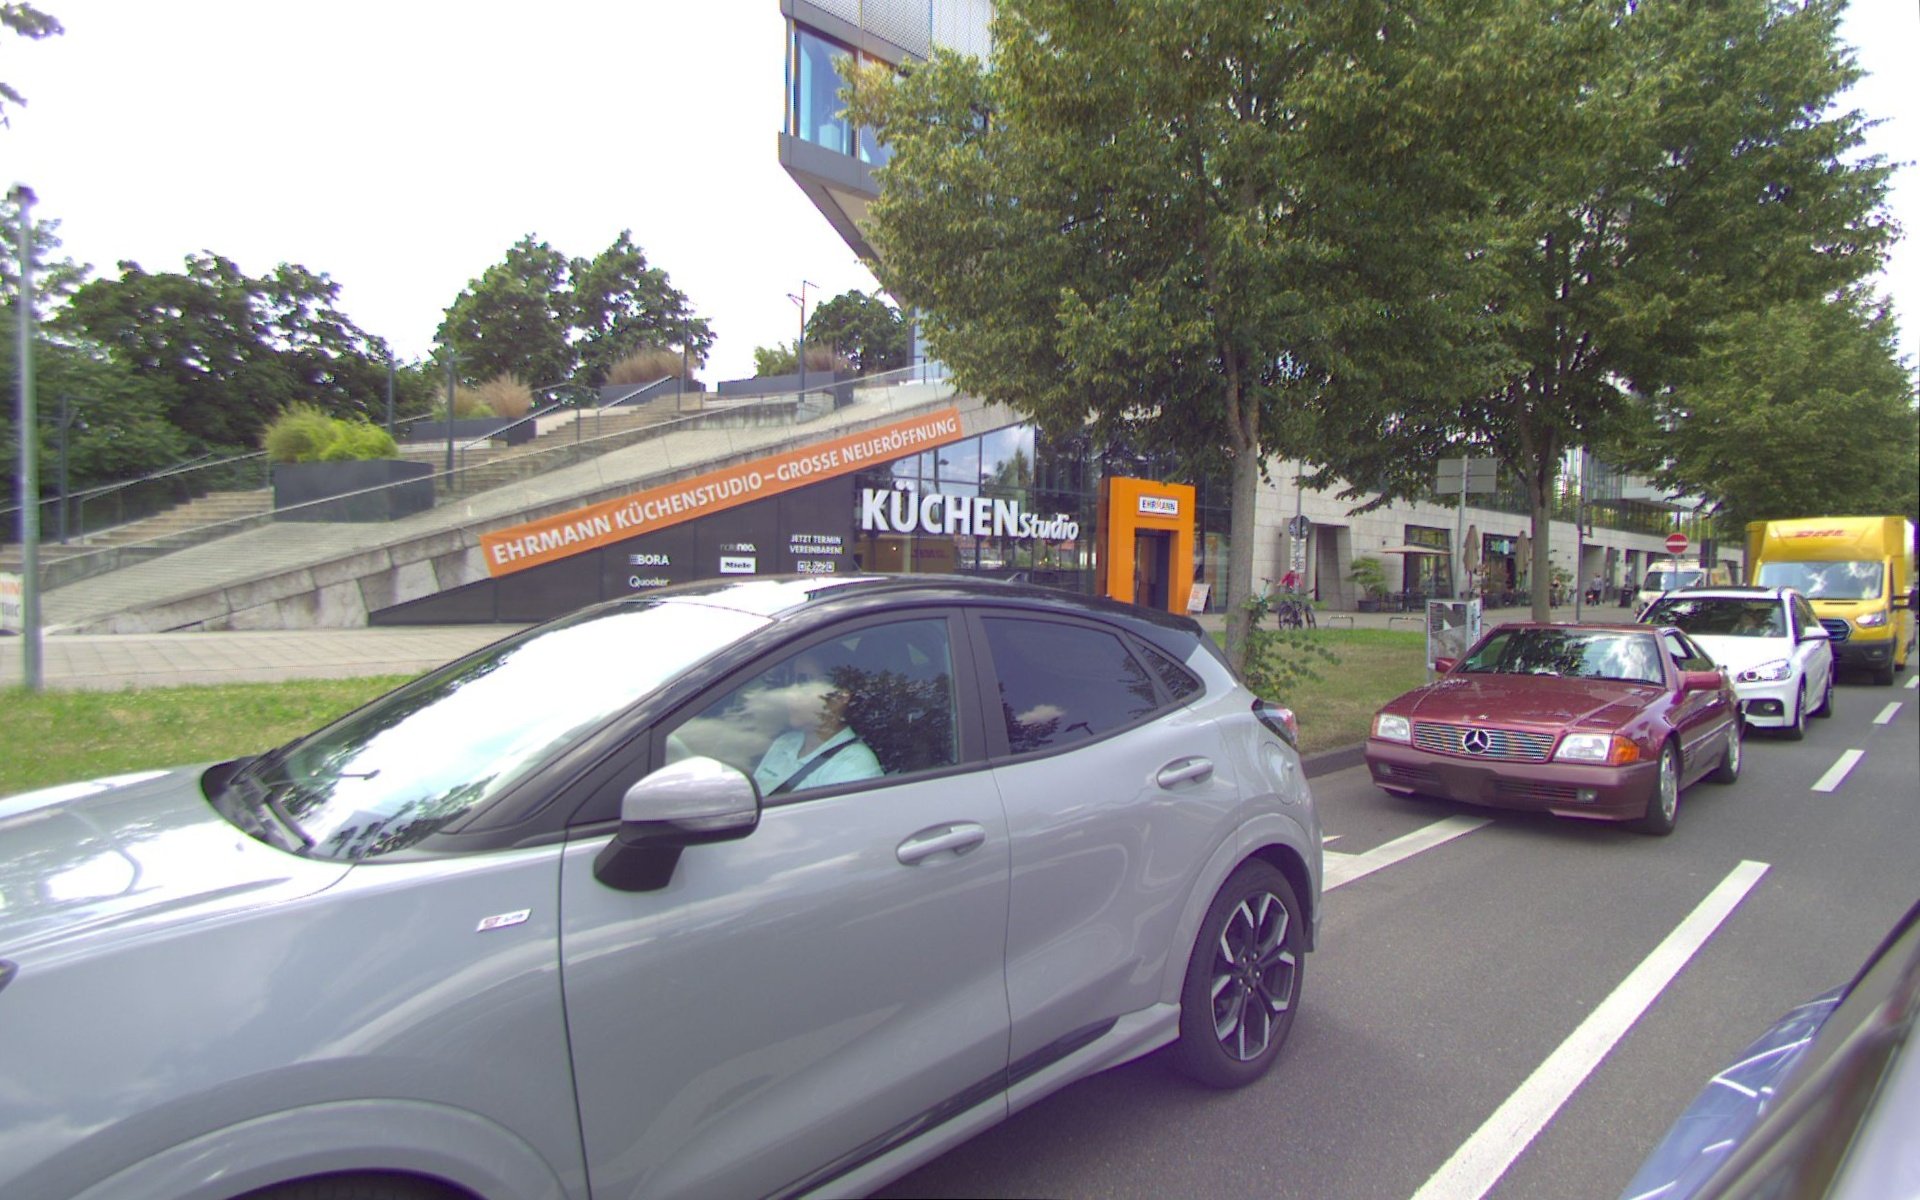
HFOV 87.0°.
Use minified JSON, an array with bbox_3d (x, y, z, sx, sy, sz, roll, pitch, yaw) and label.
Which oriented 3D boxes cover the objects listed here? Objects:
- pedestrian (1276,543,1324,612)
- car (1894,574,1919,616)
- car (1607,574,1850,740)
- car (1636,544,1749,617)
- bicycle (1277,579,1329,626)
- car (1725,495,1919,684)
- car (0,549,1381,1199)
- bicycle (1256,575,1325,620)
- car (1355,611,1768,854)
[{"bbox_3d":[10.357,-0.676,30.789,1.210,2.037,0.754,1,4,-41],"label":"pedestrian"},{"bbox_3d":[42.444,-0.235,44.241,4.223,1.783,1.996,-1,0,-42],"label":"car"},{"bbox_3d":[9.130,0.545,11.900,4.059,1.619,1.671,0,0,-44],"label":"car"},{"bbox_3d":[26.579,-0.694,36.602,6.172,2.424,2.158,-1,0,-43],"label":"car"},{"bbox_3d":[8.373,0.050,24.667,0.515,1.102,1.722,3,2,42],"label":"bicycle"},{"bbox_3d":[16.289,-0.215,18.781,7.136,2.889,2.280,-1,1,-44],"label":"car"},{"bbox_3d":[-0.615,0.639,2.724,4.023,1.489,1.672,-1,3,-42],"label":"car"},{"bbox_3d":[10.023,-0.069,30.659,2.369,1.259,0.812,0,6,-41],"label":"bicycle"},{"bbox_3d":[4.703,0.762,7.650,4.024,1.277,1.671,0,1,-44],"label":"car"}]
